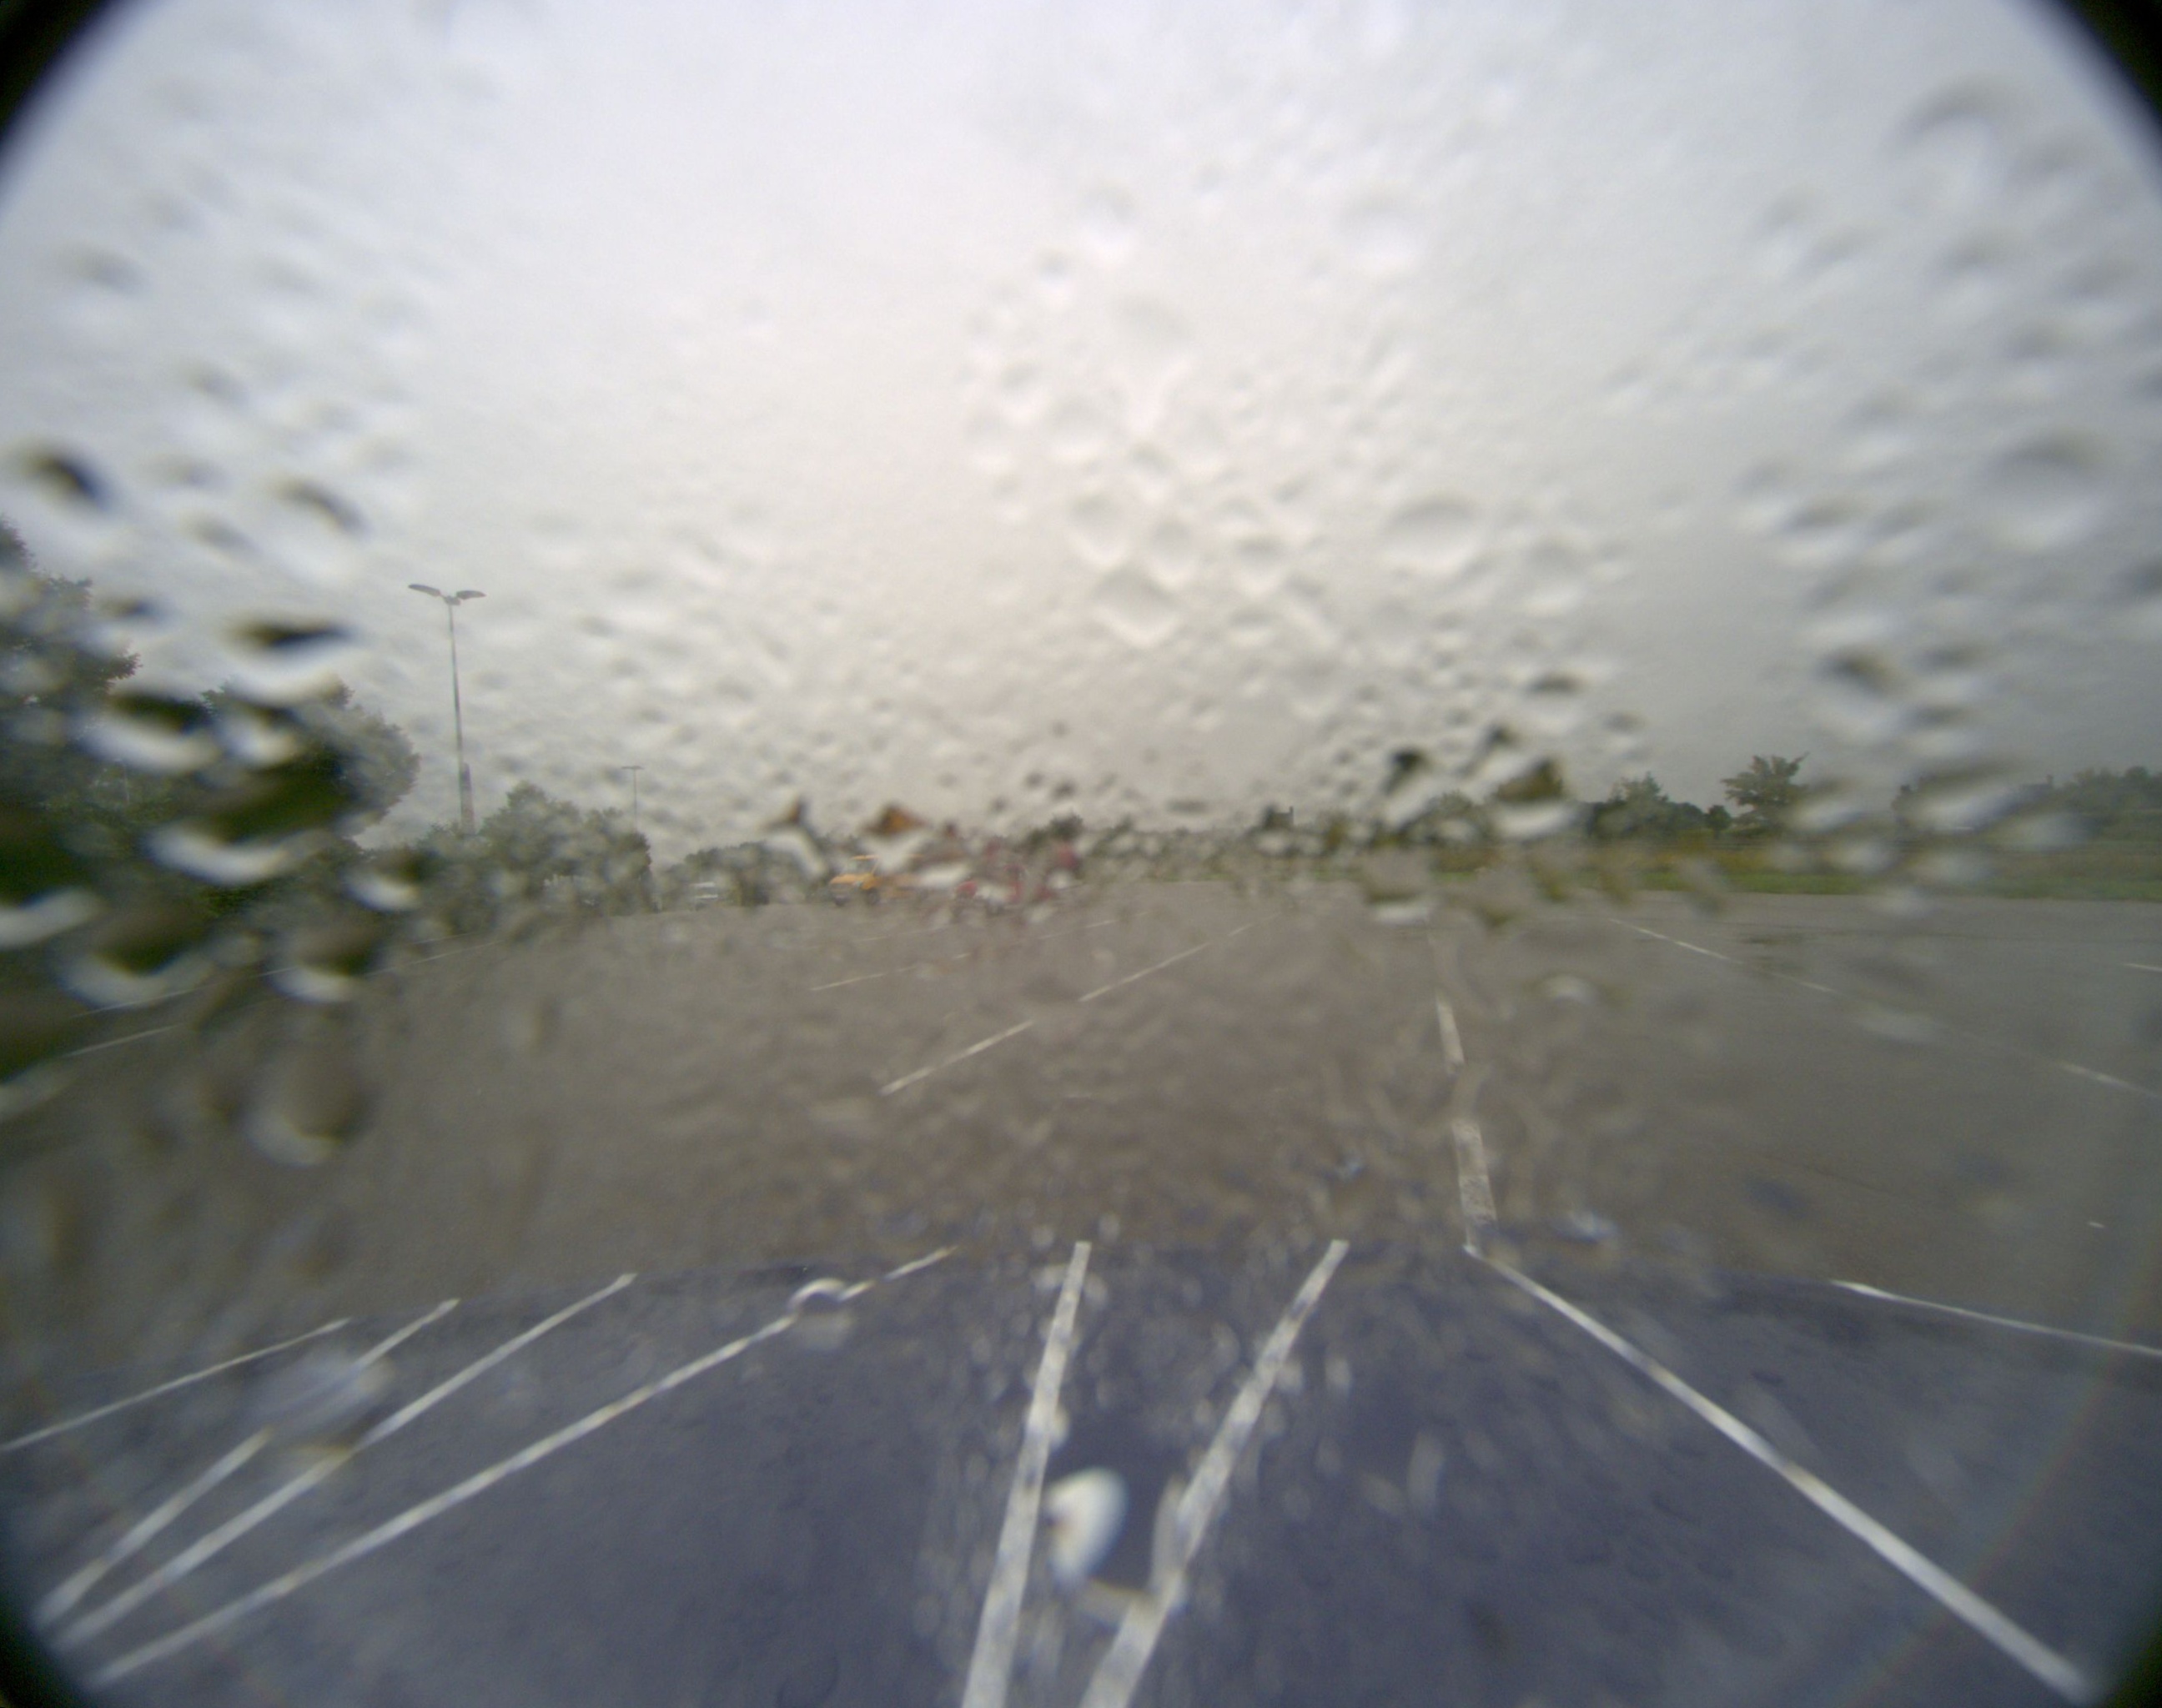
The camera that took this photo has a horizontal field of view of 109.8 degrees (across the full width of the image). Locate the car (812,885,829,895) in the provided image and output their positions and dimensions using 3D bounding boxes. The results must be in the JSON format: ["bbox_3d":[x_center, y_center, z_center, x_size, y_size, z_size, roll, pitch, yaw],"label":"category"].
[{"bbox_3d":[-30.531,4.255,89.004,1.502,0.994,3.562,-2,0,-26],"label":"car"}]

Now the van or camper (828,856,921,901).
[{"bbox_3d":[-13.832,1.546,51.502,1.995,2.700,7.080,0,1,24],"label":"van or camper"}]

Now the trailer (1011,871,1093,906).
[{"bbox_3d":[-0.974,1.205,26.790,1.585,1.061,3.036,-3,-1,27],"label":"trailer"}]

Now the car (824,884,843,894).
[{"bbox_3d":[-29.730,4.231,91.162,1.711,0.994,3.760,-2,0,-26],"label":"car"}]

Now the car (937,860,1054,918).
[{"bbox_3d":[-2.542,1.026,23.546,1.546,1.546,4.063,-2,0,27],"label":"car"}]

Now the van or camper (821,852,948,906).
[{"bbox_3d":[-9.036,1.094,35.678,2.129,2.233,6.428,-2,0,24],"label":"van or camper"}]
